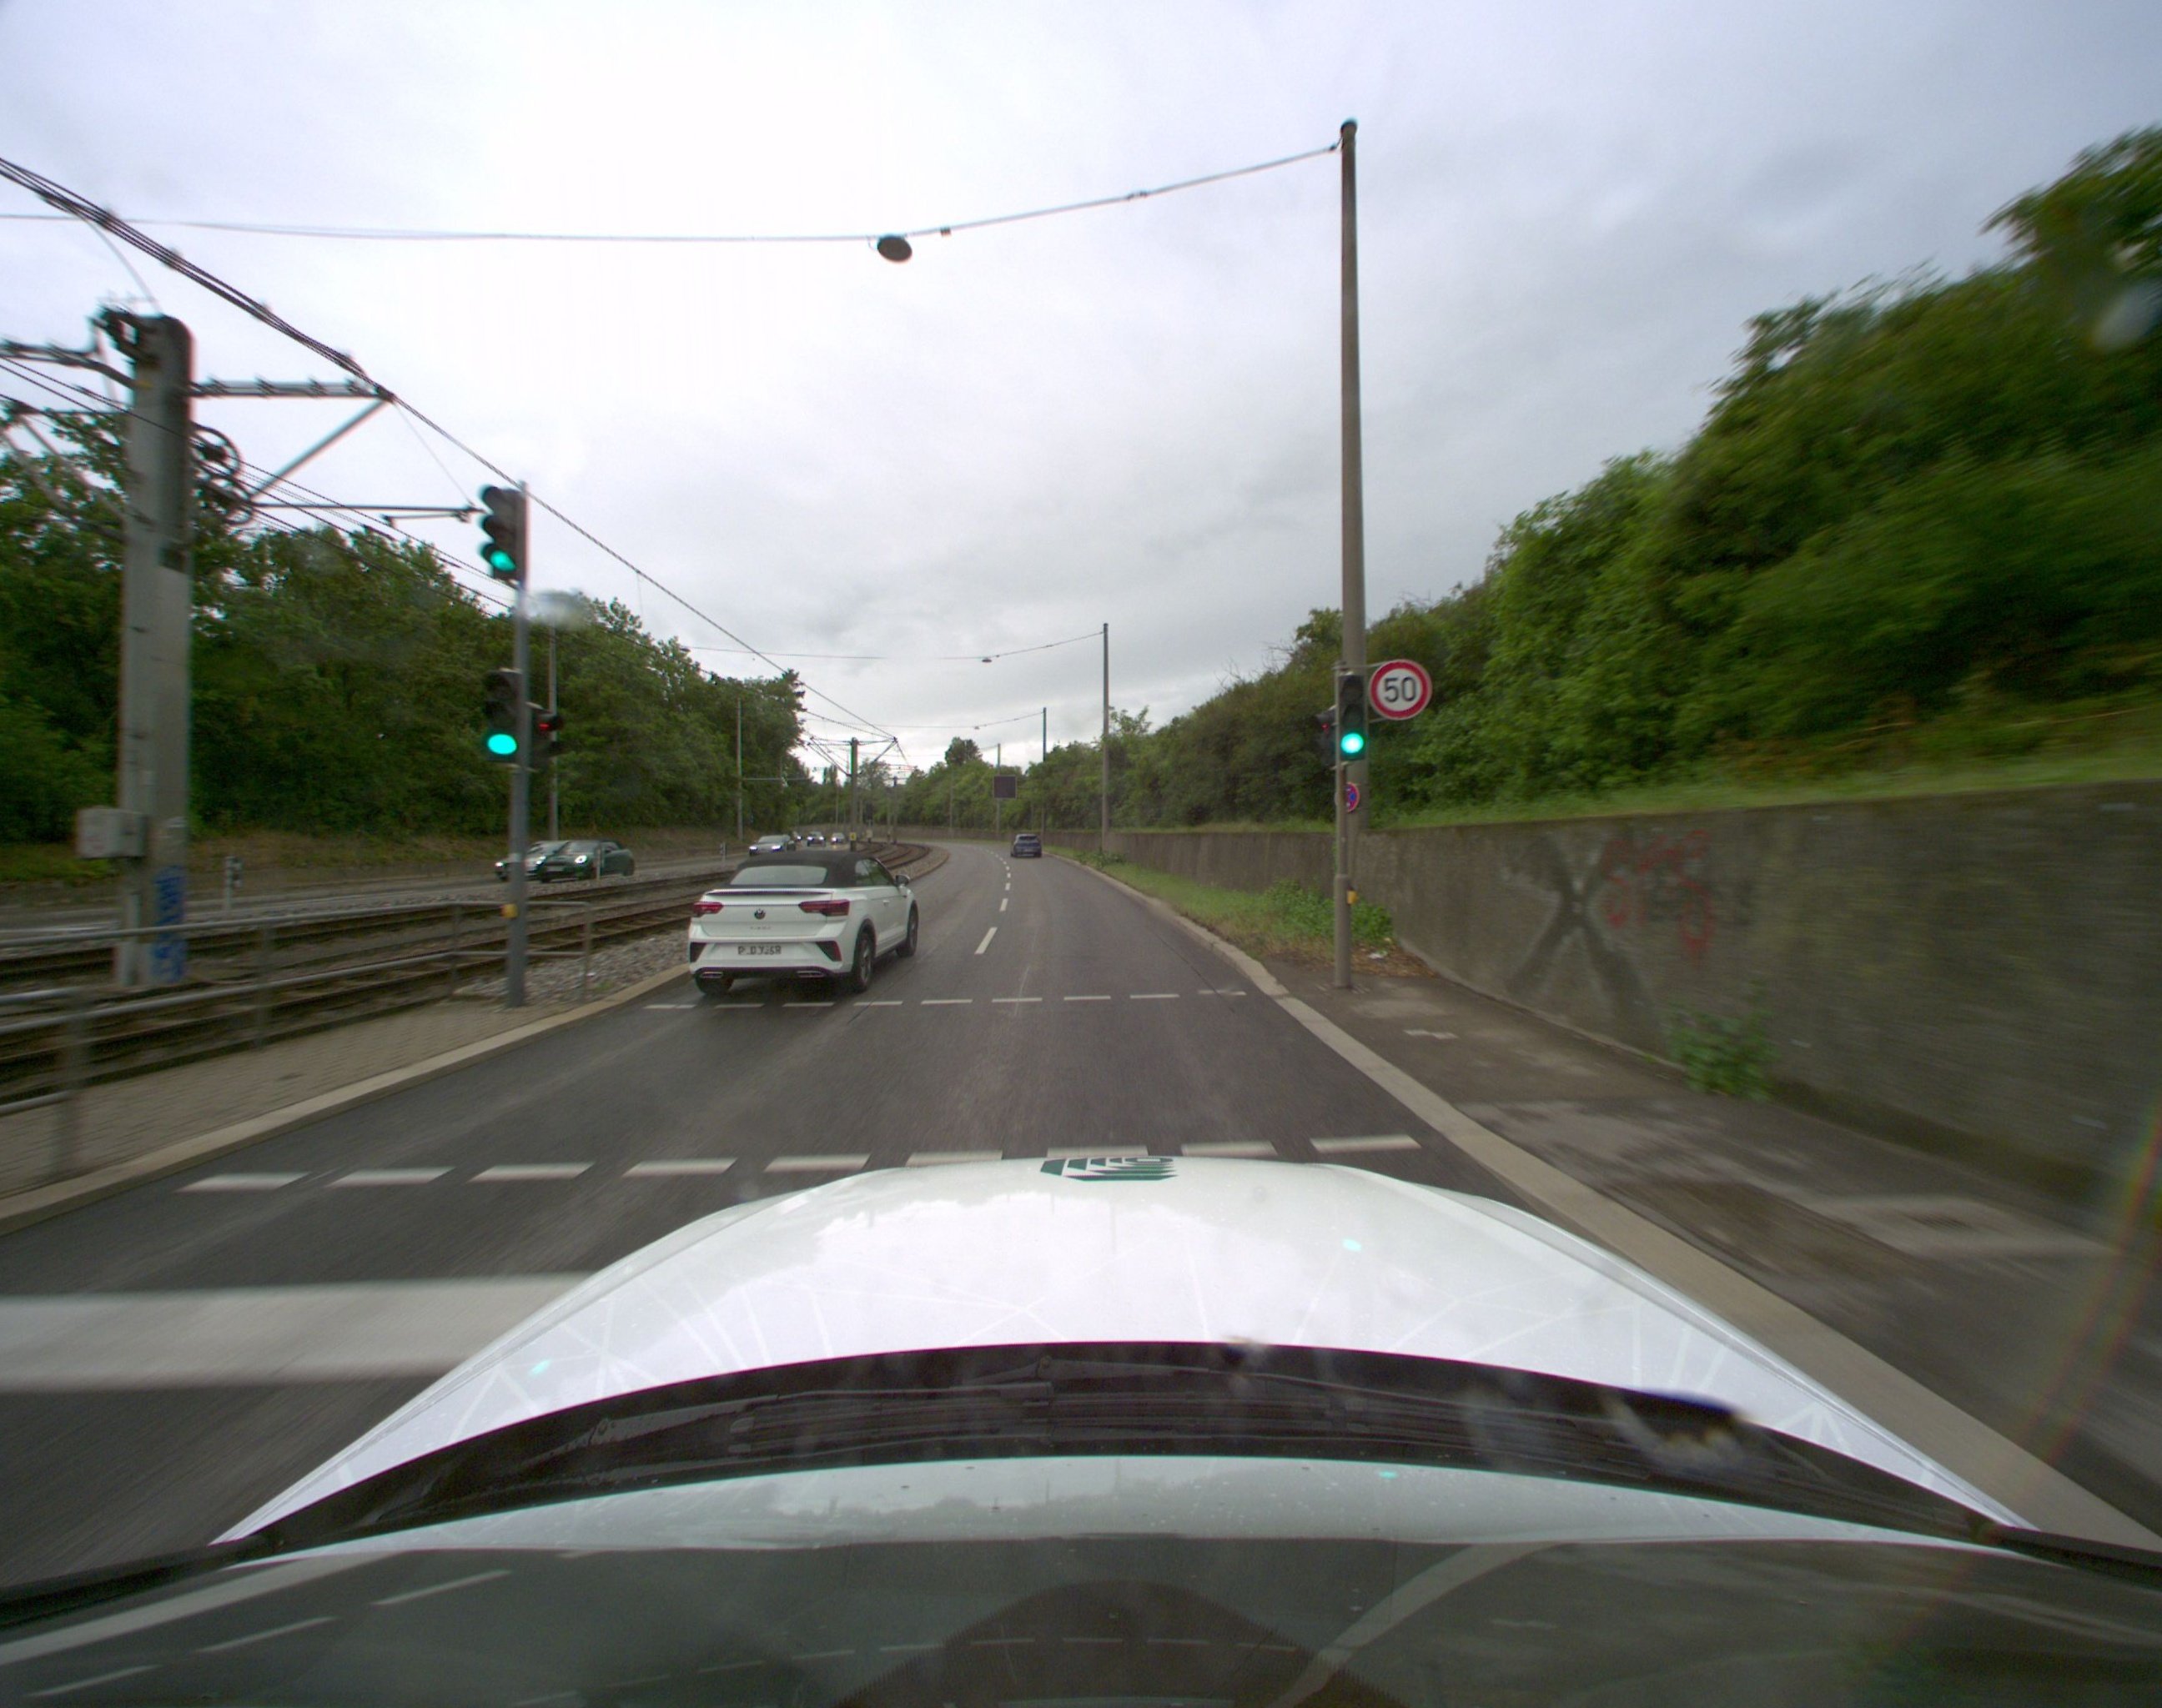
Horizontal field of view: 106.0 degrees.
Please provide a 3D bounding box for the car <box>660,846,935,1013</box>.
[{"bbox_3d":[-3.165,0.714,10.206,1.866,1.524,4.539,-1,1,-1],"label":"car"}]

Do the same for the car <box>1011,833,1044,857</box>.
[{"bbox_3d":[-3.459,-0.595,51.725,1.763,1.501,3.988,0,1,-9],"label":"car"}]

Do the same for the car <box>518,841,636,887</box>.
[{"bbox_3d":[-17.218,0.291,28.060,1.628,1.384,3.893,-3,1,-1],"label":"car"}]

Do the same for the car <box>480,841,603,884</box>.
[{"bbox_3d":[-20.190,0.254,30.744,1.817,1.379,4.696,-2,1,-6],"label":"car"}]

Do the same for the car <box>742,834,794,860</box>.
[{"bbox_3d":[-19.081,-0.477,49.890,1.860,1.438,4.843,-3,2,-8],"label":"car"}]

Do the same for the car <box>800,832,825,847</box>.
[{"bbox_3d":[-31.980,-1.722,96.941,1.795,1.669,4.695,-2,2,-30],"label":"car"}]

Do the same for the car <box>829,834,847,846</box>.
[{"bbox_3d":[-31.360,-1.813,105.102,1.714,1.414,3.999,-1,1,-26],"label":"car"}]
